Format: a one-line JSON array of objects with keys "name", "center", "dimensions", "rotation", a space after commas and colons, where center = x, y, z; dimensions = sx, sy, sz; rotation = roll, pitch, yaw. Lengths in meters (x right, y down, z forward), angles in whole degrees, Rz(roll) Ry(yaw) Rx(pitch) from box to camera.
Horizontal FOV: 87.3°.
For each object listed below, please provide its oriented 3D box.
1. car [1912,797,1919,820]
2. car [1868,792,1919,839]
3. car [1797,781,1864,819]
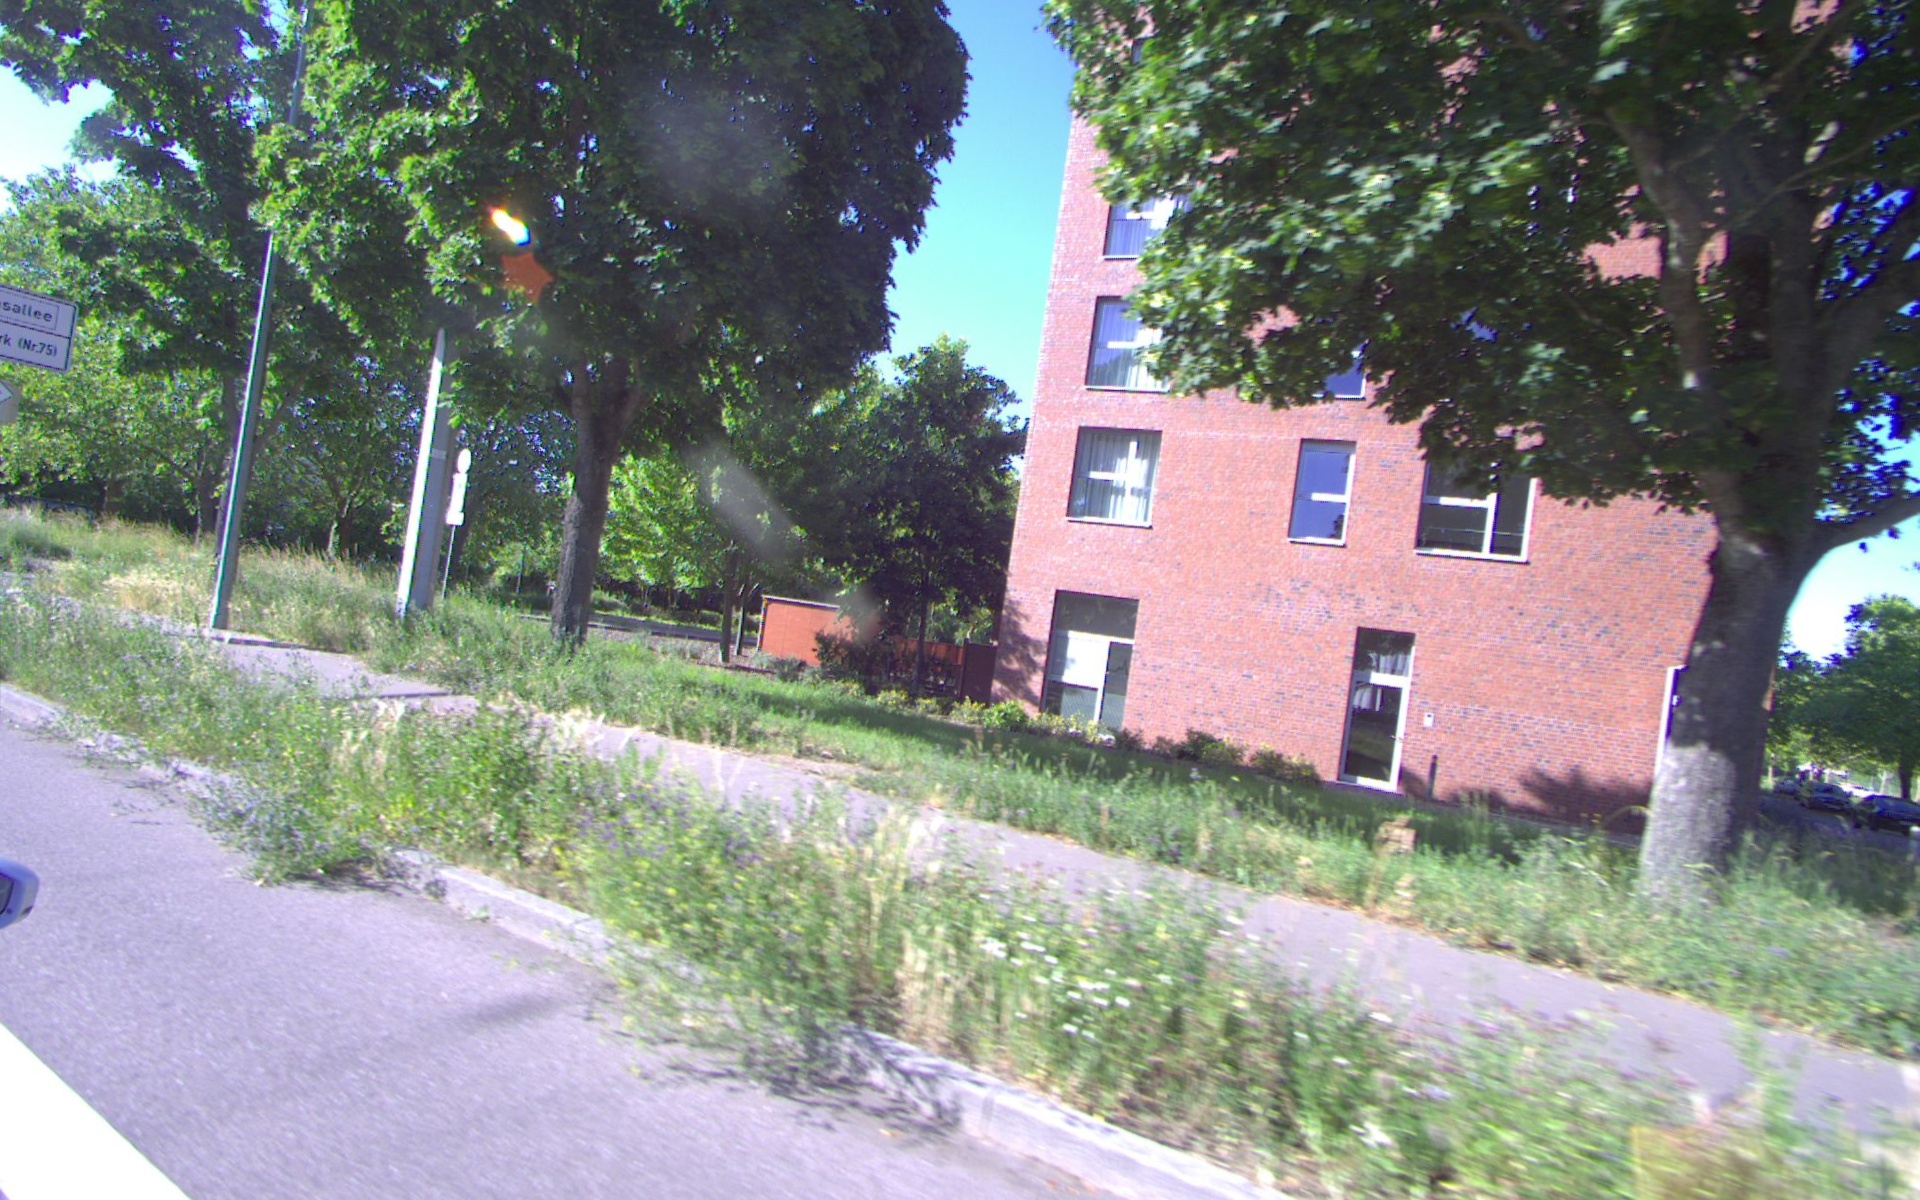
[{"name": "car", "center": [62.625, 13.530, 64.065], "dimensions": [1.801, 1.478, 4.230], "rotation": [7, -3, 30]}, {"name": "car", "center": [37.864, 8.646, 40.260], "dimensions": [1.846, 1.508, 3.990], "rotation": [7, -3, 39]}, {"name": "car", "center": [46.676, 10.701, 54.041], "dimensions": [1.801, 1.478, 4.230], "rotation": [7, -3, 30]}]
